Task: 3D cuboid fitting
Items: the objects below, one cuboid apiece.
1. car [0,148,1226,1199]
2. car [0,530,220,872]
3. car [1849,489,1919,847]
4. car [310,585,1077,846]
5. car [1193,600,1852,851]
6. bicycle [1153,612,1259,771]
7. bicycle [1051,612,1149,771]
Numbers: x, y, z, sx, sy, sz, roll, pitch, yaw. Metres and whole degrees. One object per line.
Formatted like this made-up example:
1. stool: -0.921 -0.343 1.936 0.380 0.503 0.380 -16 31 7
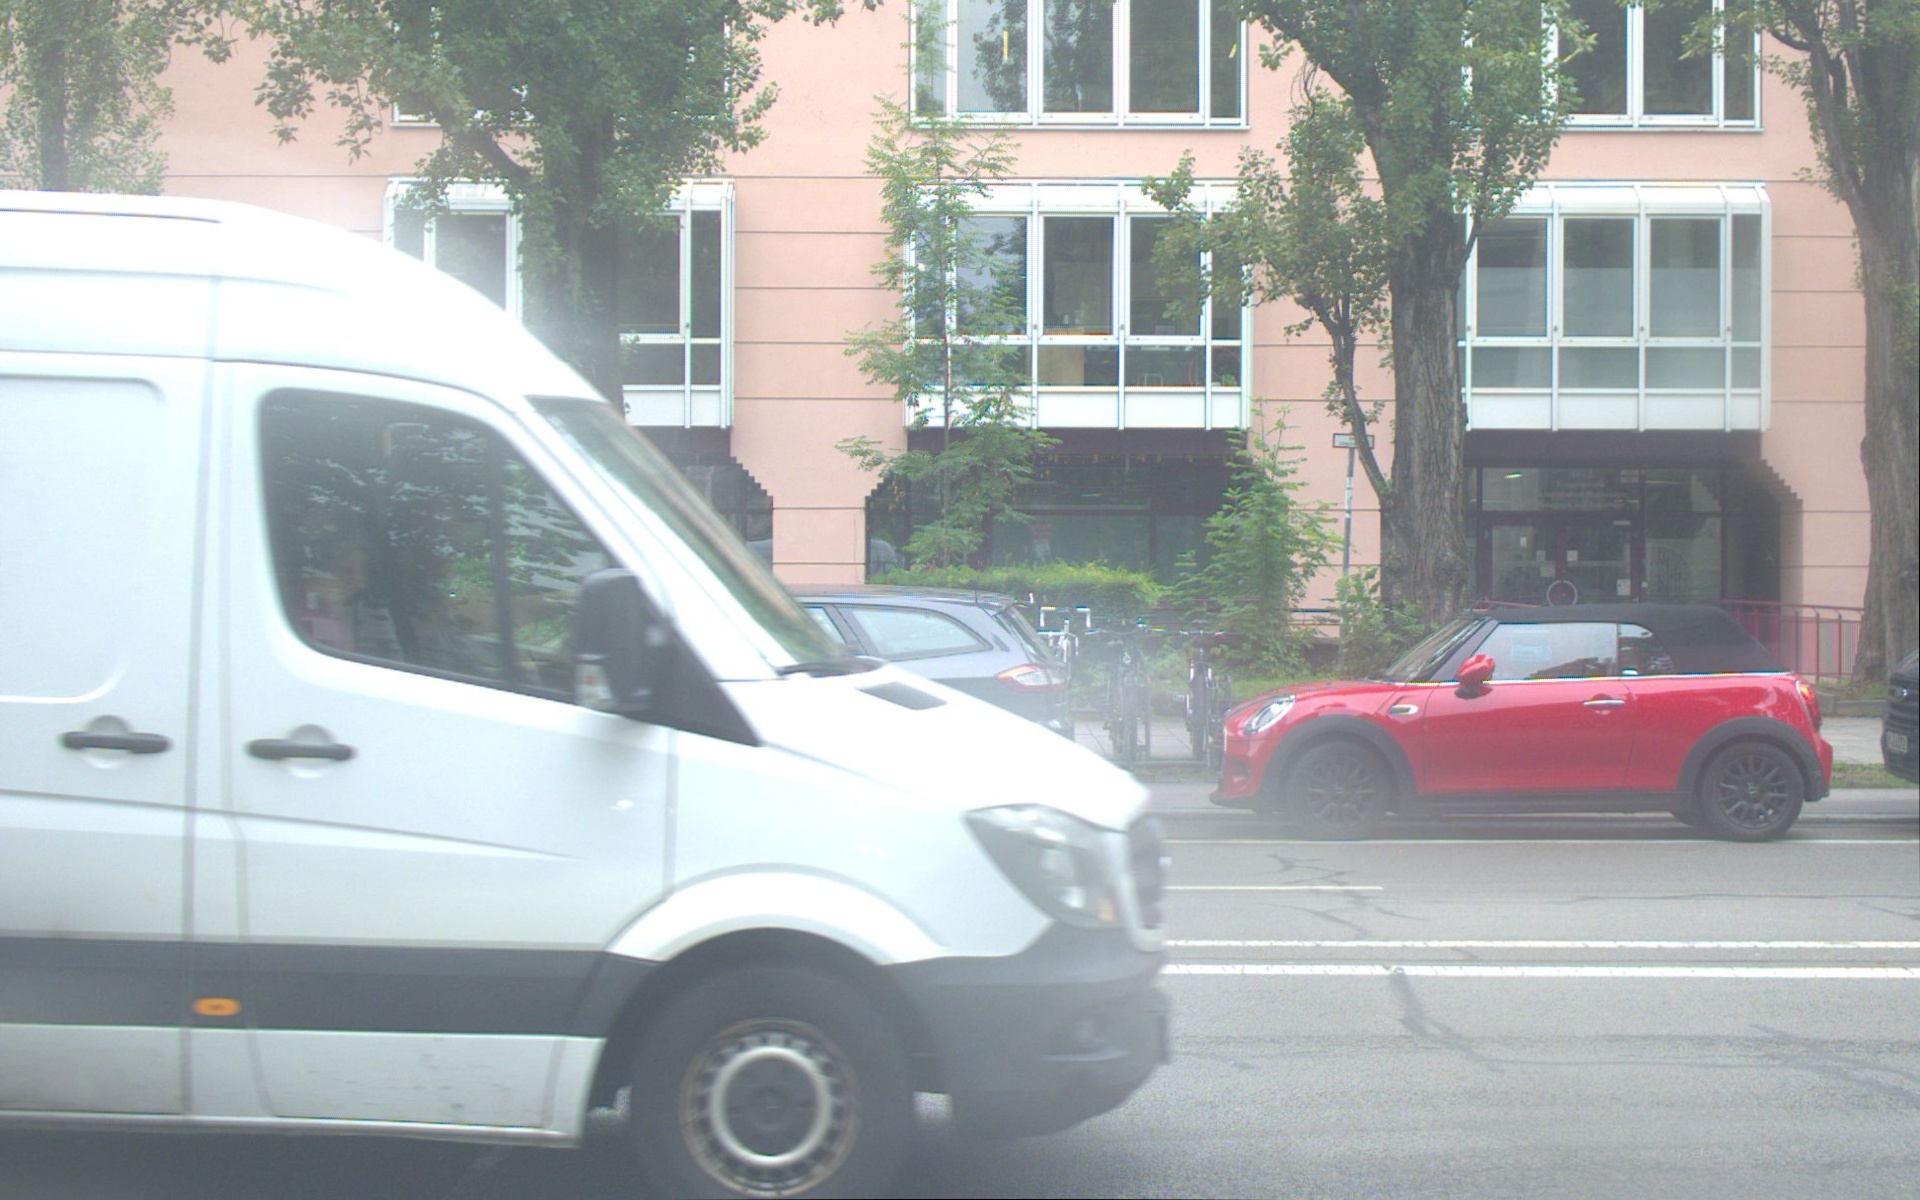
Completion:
1. car: -2.399 0.225 9.076 6.021 2.642 2.047 0 2 0
2. car: -5.605 0.436 16.331 3.740 1.522 1.849 1 0 1
3. car: 8.605 0.424 21.616 5.479 2.189 2.024 0 1 0
4. car: -1.604 0.691 21.584 4.608 1.523 1.794 0 1 0
5. car: 3.414 0.747 21.394 3.861 1.444 1.678 0 1 3
6. bicycle: 1.840 0.666 25.885 0.674 1.120 1.742 0 1 0
7. bicycle: 1.045 0.670 25.914 0.674 1.120 1.742 0 1 0
